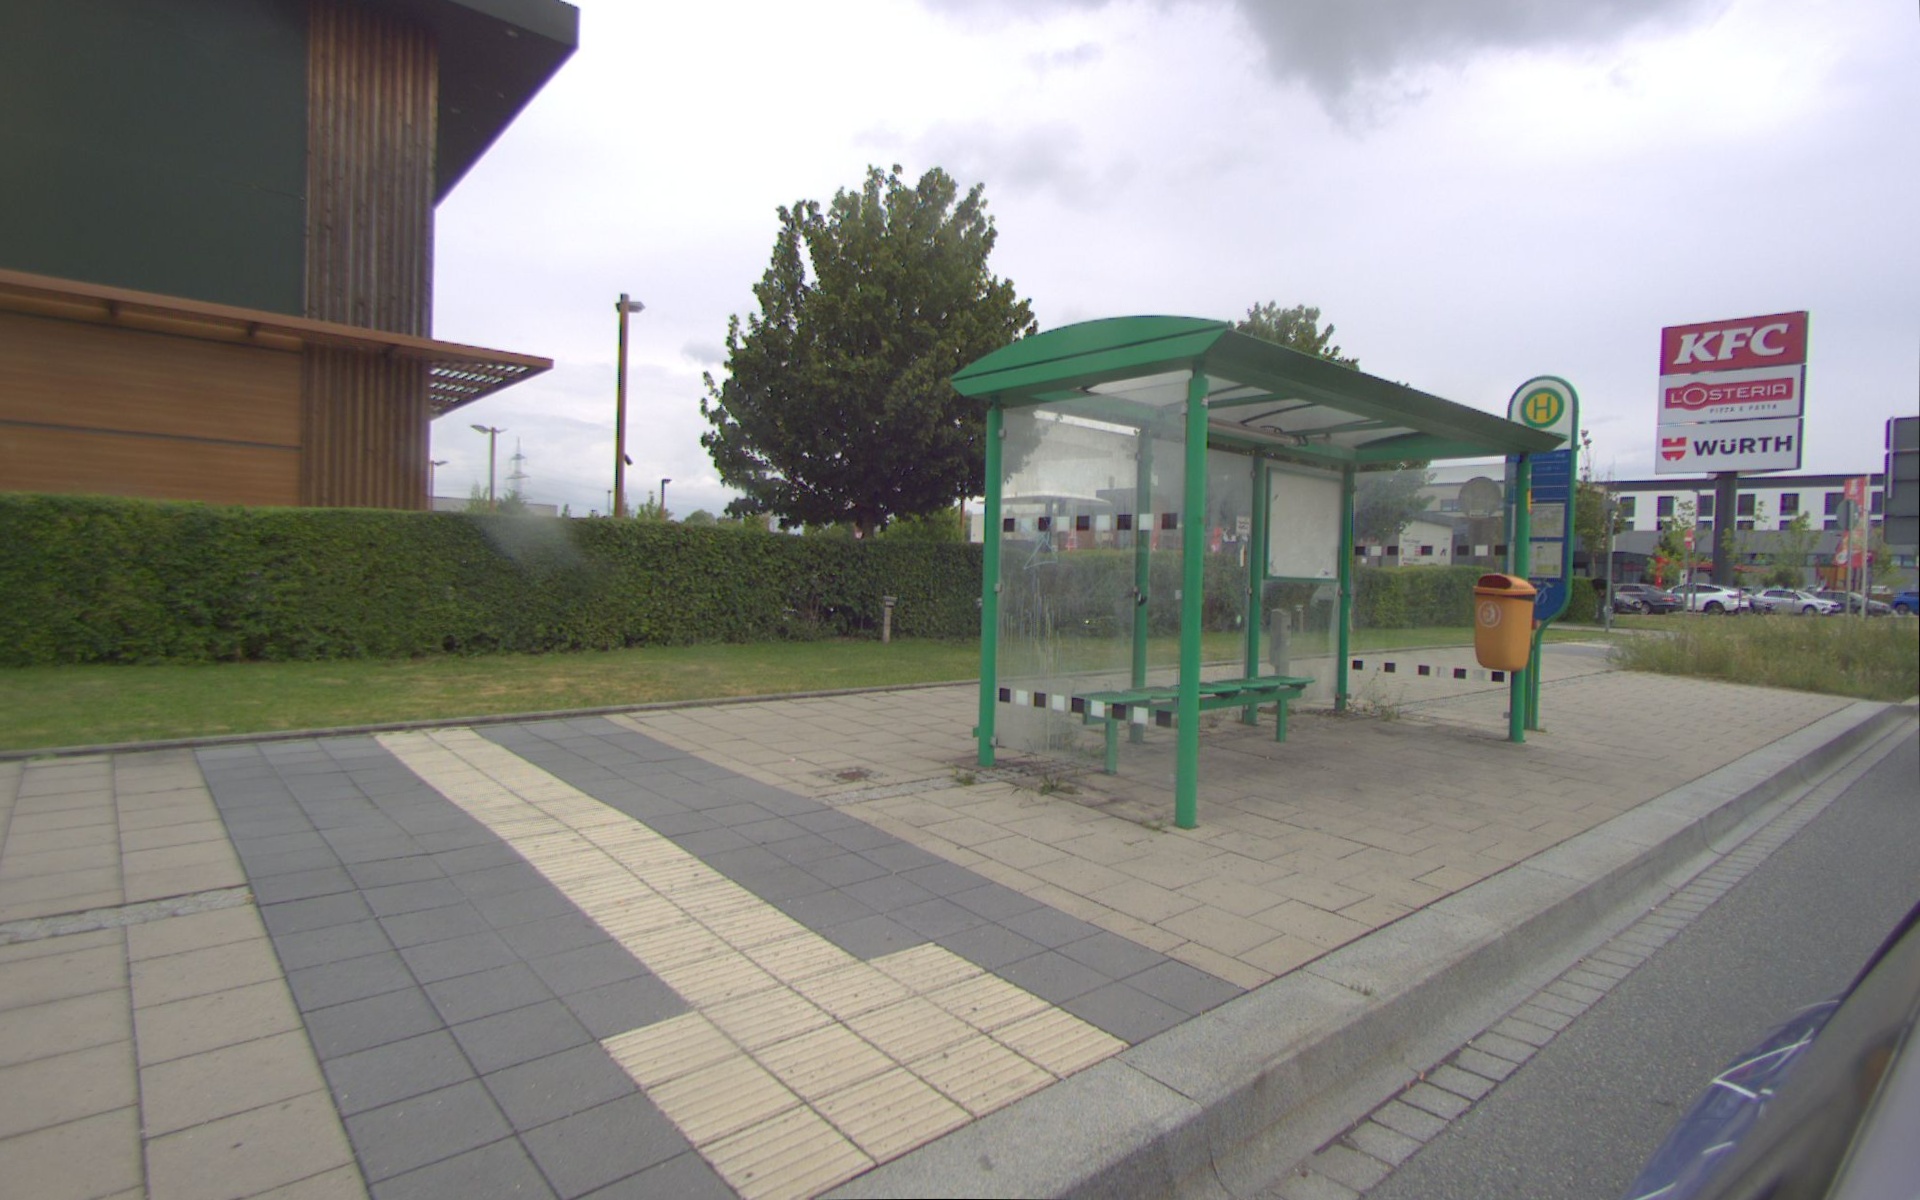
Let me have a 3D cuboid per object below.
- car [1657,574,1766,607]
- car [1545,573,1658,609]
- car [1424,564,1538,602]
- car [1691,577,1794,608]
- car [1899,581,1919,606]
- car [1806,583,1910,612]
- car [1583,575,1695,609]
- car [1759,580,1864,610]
[{"bbox_3d":[38.025,-0.477,51.303,1.811,1.541,4.004,0,2,-32],"label":"car"},{"bbox_3d":[29.572,-0.434,46.737,1.811,1.504,4.004,0,2,-32],"label":"car"},{"bbox_3d":[22.524,-0.752,43.863,1.814,1.546,3.996,0,2,-40],"label":"car"},{"bbox_3d":[42.068,-0.415,54.512,1.811,1.504,4.003,0,2,-33],"label":"car"},{"bbox_3d":[59.913,-0.410,61.313,1.809,1.504,4.007,-1,1,-24],"label":"car"},{"bbox_3d":[50.973,-0.183,57.509,1.809,1.504,4.007,1,2,-28],"label":"car"},{"bbox_3d":[32.022,-0.394,47.827,1.811,1.504,4.004,0,2,-32],"label":"car"},{"bbox_3d":[46.803,-0.289,55.727,1.809,1.504,4.007,1,2,-28],"label":"car"}]
